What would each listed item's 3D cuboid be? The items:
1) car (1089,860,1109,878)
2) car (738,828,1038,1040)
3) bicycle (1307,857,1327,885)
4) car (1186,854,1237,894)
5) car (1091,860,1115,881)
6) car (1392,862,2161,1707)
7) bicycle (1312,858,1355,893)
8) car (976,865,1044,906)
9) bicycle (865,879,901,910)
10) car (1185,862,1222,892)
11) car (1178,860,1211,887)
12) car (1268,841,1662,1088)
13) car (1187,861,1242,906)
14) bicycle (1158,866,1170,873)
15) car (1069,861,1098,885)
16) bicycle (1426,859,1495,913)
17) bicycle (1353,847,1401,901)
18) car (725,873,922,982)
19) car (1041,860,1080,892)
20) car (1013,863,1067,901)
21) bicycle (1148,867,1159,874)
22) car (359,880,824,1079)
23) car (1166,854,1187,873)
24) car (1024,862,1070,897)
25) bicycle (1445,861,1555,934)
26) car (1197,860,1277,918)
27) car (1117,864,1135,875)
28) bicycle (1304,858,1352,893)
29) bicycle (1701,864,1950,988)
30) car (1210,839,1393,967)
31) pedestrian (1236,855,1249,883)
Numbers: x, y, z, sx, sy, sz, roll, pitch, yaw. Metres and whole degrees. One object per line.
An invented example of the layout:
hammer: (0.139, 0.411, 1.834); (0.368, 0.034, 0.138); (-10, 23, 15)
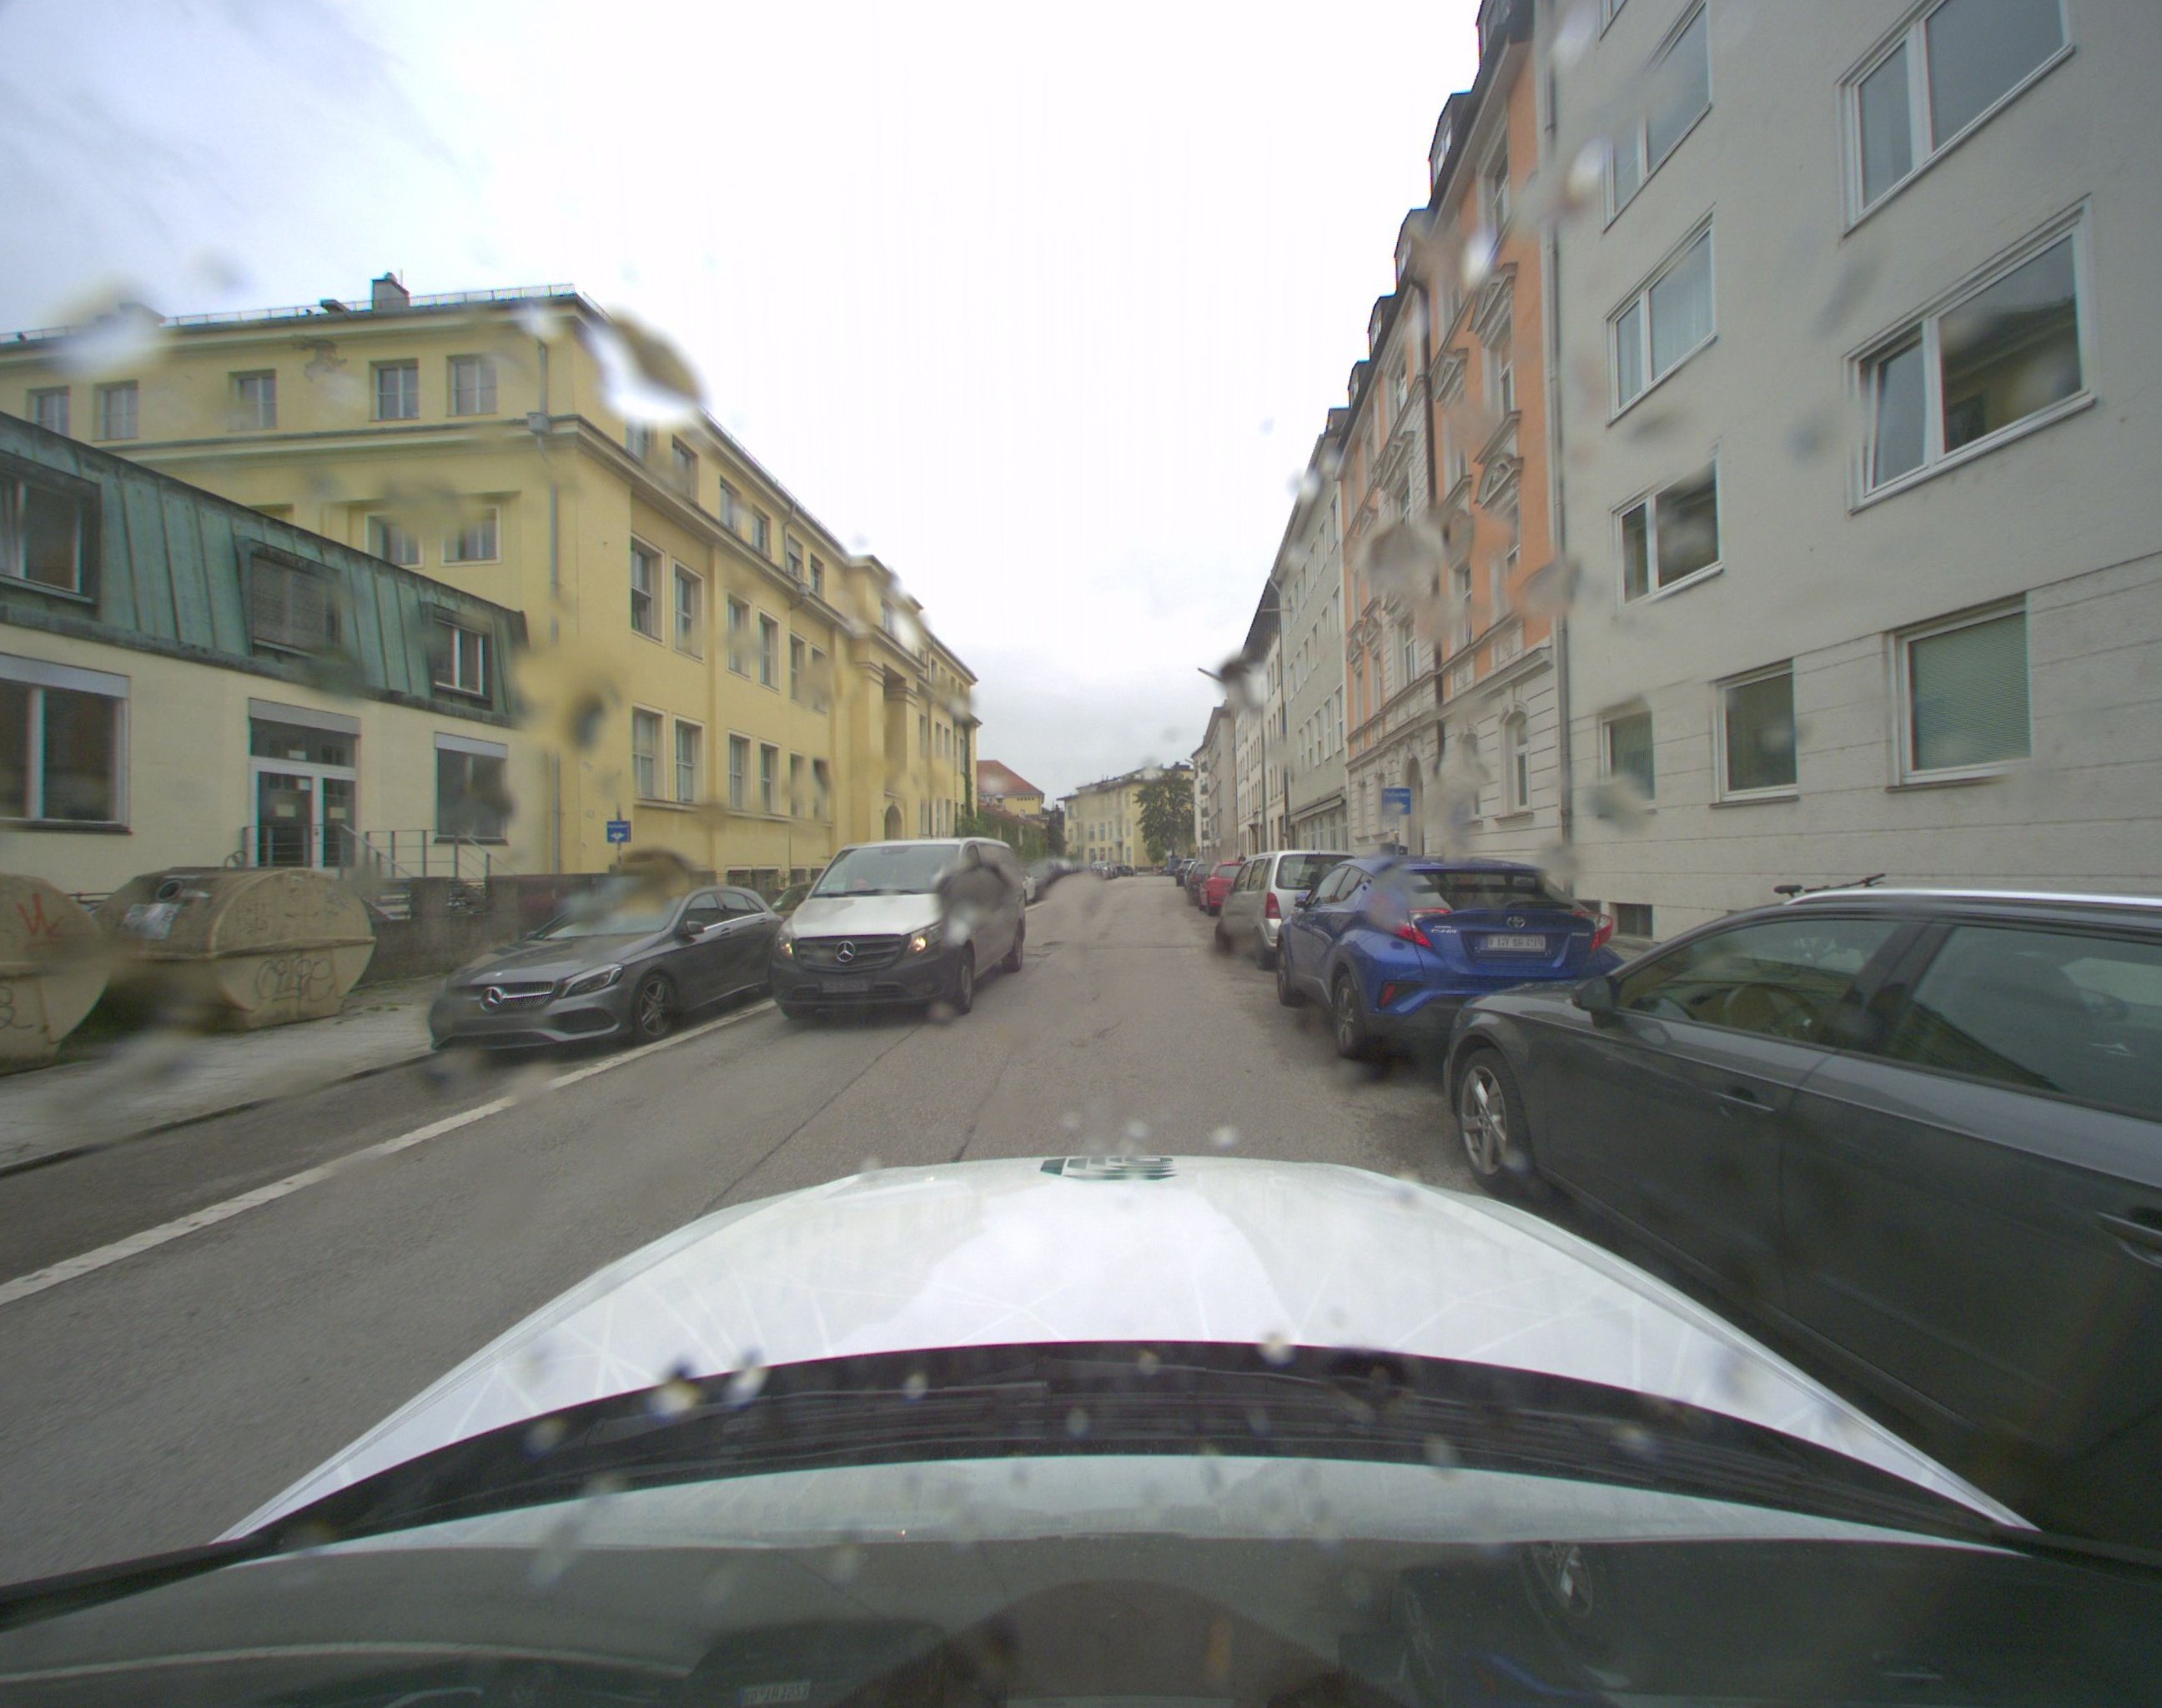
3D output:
car: (1.704, 1.386, 75.829); (1.584, 1.441, 4.023); (-4, -1, 4)
car: (-1.919, 0.768, 10.077); (1.906, 1.848, 5.329); (-3, -1, 5)
bicycle: (9.960, 0.704, 34.378); (0.382, 1.158, 1.952); (-2, -1, 5)
car: (5.526, 0.831, 34.968); (1.699, 1.592, 4.364); (-1, 0, 3)
car: (2.219, 1.661, 81.263); (1.877, 1.889, 4.782); (-5, -1, 7)
car: (2.679, 0.767, 2.501); (1.700, 1.454, 4.400); (1, -1, -1)
bicycle: (8.301, 0.694, 26.736); (0.614, 1.089, 1.826); (-3, -1, 40)
car: (-2.691, 1.177, 31.858); (1.776, 1.432, 4.659); (-2, -1, 6)
bicycle: (-7.299, 1.484, 30.133); (0.533, 1.063, 1.647); (-2, -1, 16)
car: (6.138, 1.113, 41.139); (1.664, 1.429, 4.537); (0, -1, 6)
car: (6.686, 1.137, 48.372); (1.830, 1.522, 4.718); (-1, -1, 7)
car: (2.874, 0.709, 7.297); (1.734, 1.494, 4.555); (-2, -1, 6)
car: (4.573, 0.975, 28.347); (1.678, 1.402, 4.372); (-1, -1, 7)
bicycle: (14.596, 2.677, 142.757); (1.906, 1.201, 0.598); (-2, -1, 19)
car: (0.230, 1.372, 60.690); (1.781, 1.586, 4.823); (-5, -1, 4)
bicycle: (7.834, 0.636, 16.900); (0.593, 1.024, 1.818); (-3, -1, 2)
bicycle: (8.180, 0.540, 22.587); (0.593, 1.385, 2.093); (-3, -1, 2)
car: (-4.147, 1.116, 13.961); (1.743, 1.405, 4.357); (-5, -1, 2)
car: (-1.128, 1.228, 47.111); (1.738, 1.634, 4.860); (-3, -1, 3)
car: (-1.809, 1.235, 37.040); (1.691, 1.497, 4.155); (-6, -1, 6)
bicycle: (12.771, 2.838, 144.125); (1.903, 1.201, 0.599); (-2, -2, 42)
car: (-4.738, 1.100, 8.946); (2.005, 1.418, 4.620); (-5, -1, 4)
car: (12.486, 1.287, 106.473); (2.072, 2.234, 5.241); (2, -3, 0)
car: (-1.682, 1.297, 42.165); (1.696, 1.502, 4.500); (-7, -1, 4)
bicycle: (6.951, 0.686, 13.635); (0.721, 1.112, 1.993); (-2, -1, -2)
car: (4.369, 0.920, 23.300); (1.680, 1.500, 4.150); (0, 0, 3)
car: (7.975, 2.760, 143.592); (1.766, 1.875, 4.354); (3, -2, -16)
bicycle: (8.298, 0.718, 27.336); (1.856, 1.067, 0.510); (-2, -1, -37)
bicycle: (7.329, 0.641, 8.182); (0.528, 1.072, 1.997); (-2, -1, -4)
car: (3.199, 0.658, 12.587); (1.677, 1.673, 3.801); (0, -1, -2)
pedestrian: (10.276, 0.960, 51.910); (0.719, 1.764, 0.906); (-2, -4, 6)
